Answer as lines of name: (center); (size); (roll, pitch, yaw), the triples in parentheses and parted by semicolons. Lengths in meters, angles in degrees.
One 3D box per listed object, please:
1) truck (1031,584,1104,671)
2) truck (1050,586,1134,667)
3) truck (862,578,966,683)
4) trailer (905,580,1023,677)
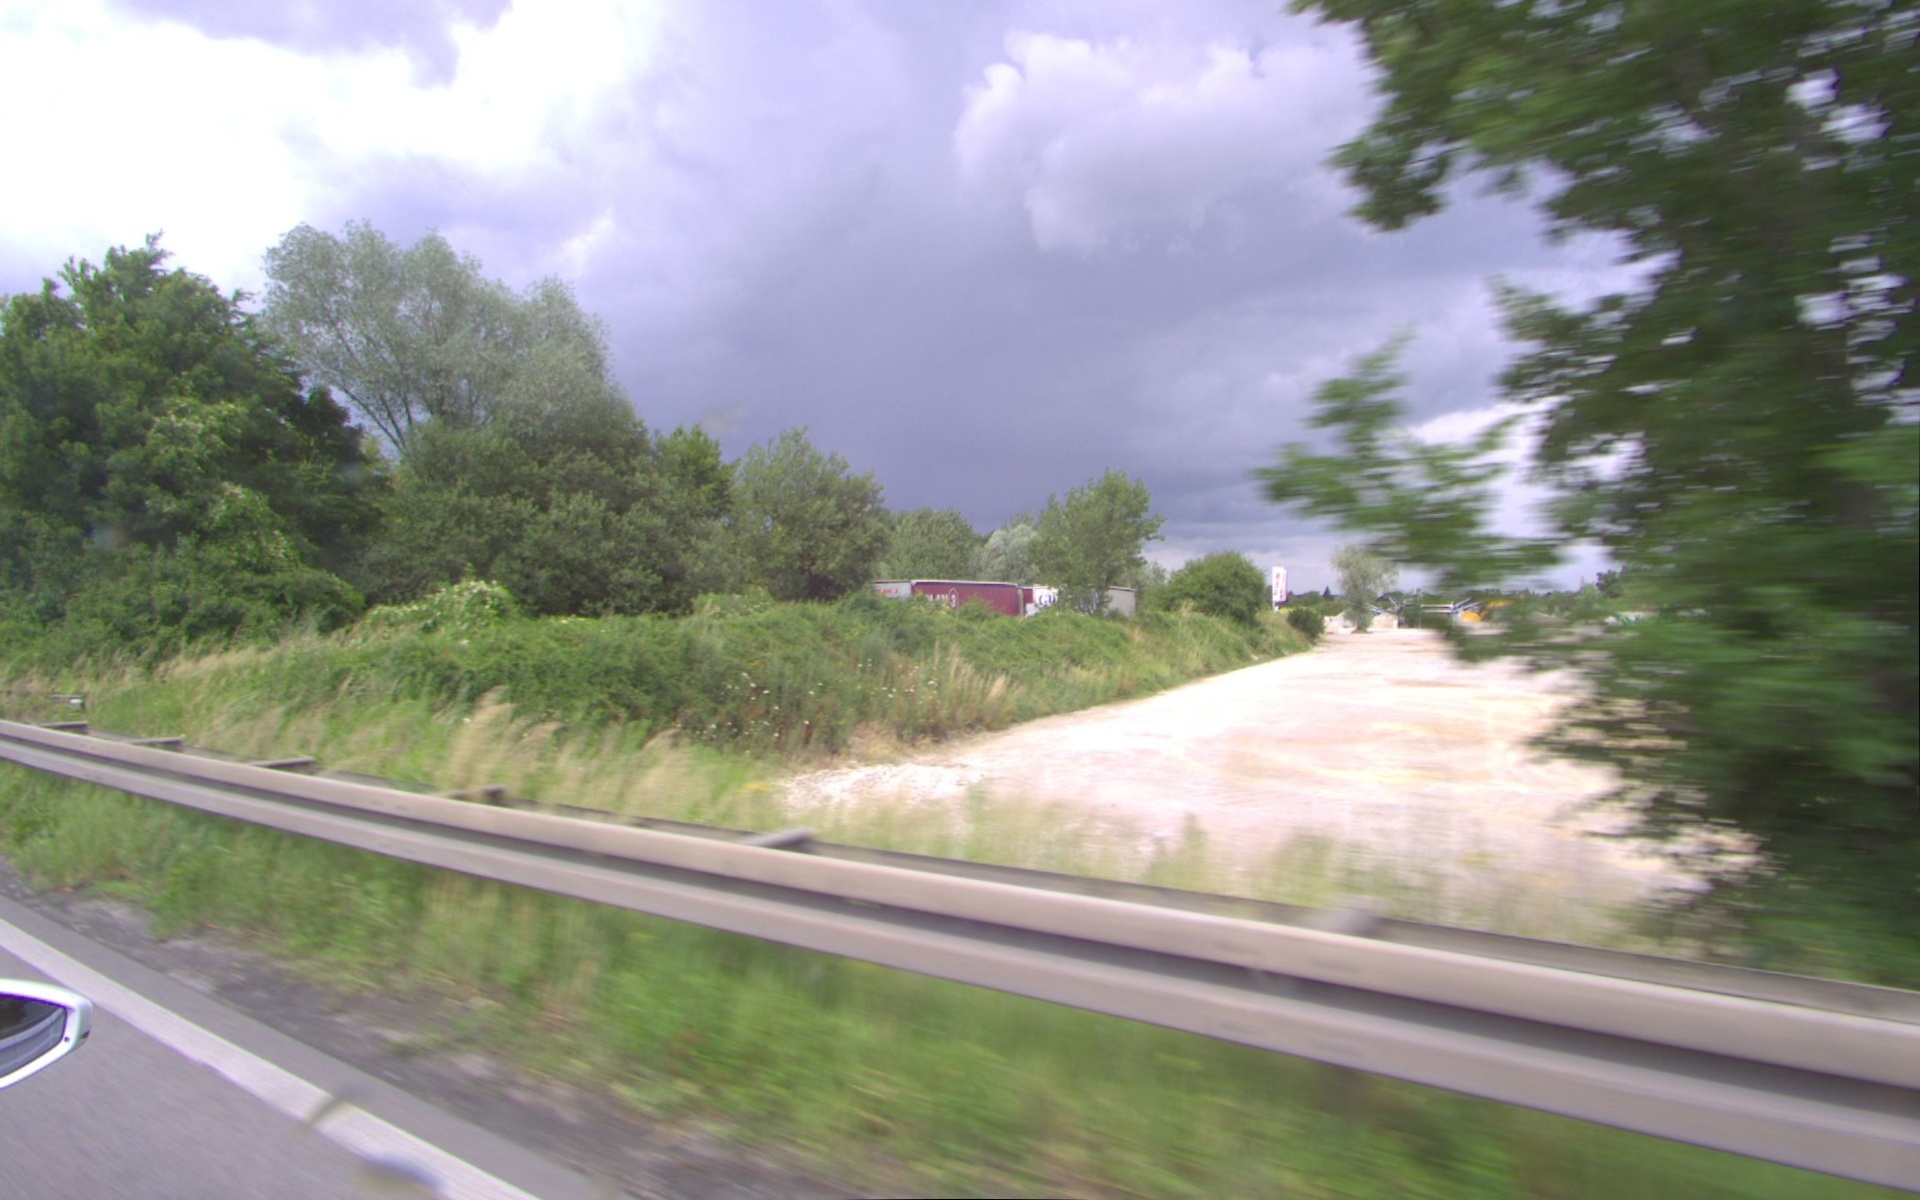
truck: (6.527, 1.591, 60.276); (2.623, 4.953, 5.947); (0, 0, 24)
truck: (8.800, 1.660, 65.301); (2.623, 4.915, 10.148); (0, -1, 24)
truck: (-2.178, 1.447, 49.698); (2.623, 4.849, 6.144); (0, 0, 24)
trailer: (0.476, 1.483, 55.582); (2.623, 4.898, 10.251); (0, 0, 24)
